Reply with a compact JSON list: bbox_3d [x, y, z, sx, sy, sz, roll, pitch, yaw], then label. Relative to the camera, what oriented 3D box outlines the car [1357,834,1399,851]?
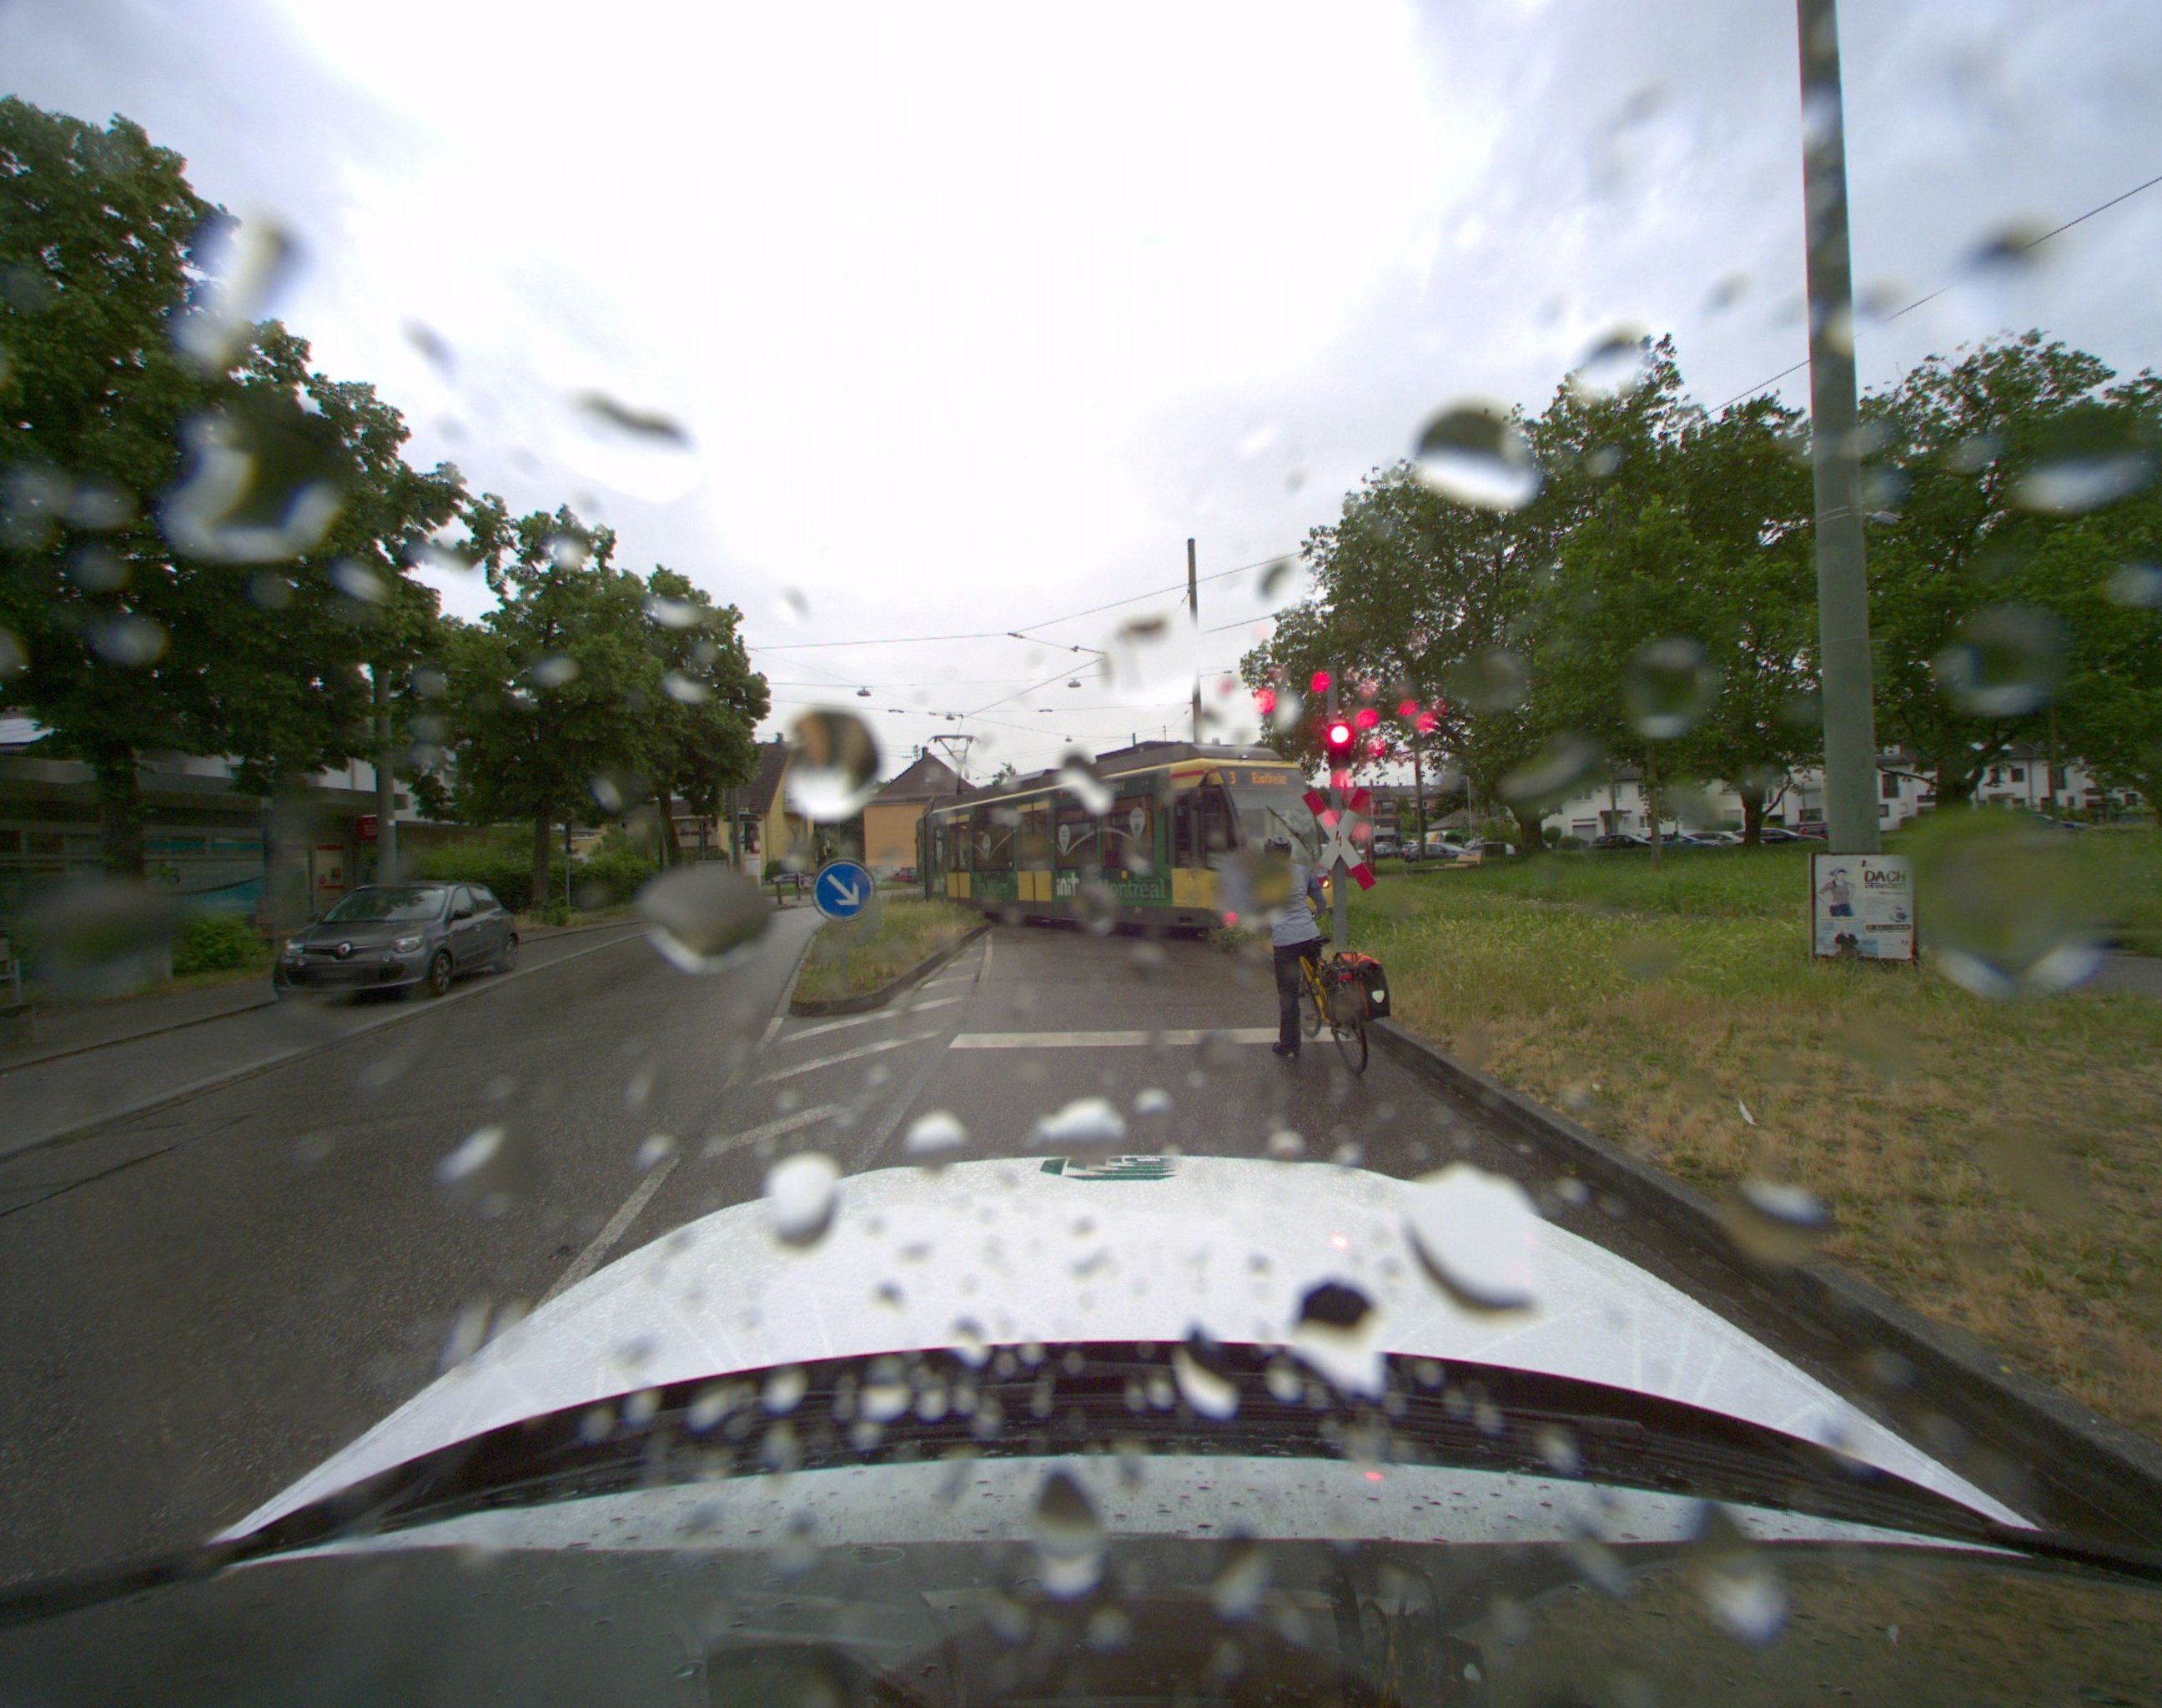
[{"bbox_3d":[33.120,-1.232,90.837,3.968,1.791,2.002,0,-1,4],"label":"car"}]

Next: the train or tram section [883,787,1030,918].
[{"bbox_3d":[-3.950,-0.047,24.960,2.778,3.553,4.940,-2,0,-30],"label":"train or tram section"}]

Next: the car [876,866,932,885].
[{"bbox_3d":[-13.665,1.661,63.065,3.979,1.456,1.831,0,-1,-5],"label":"car"}]

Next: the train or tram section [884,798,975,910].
[{"bbox_3d":[-5.914,0.090,33.063,2.760,3.553,13.092,-2,-1,-9],"label":"train or tram section"}]

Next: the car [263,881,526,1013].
[{"bbox_3d":[-9.687,1.197,11.872,1.621,1.496,3.645,0,-1,-18],"label":"car"}]

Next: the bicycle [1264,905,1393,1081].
[{"bbox_3d":[1.795,0.956,6.132,0.444,1.004,1.728,-2,0,1],"label":"bicycle"}]

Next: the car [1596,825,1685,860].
[{"bbox_3d":[30.538,-0.612,44.529,1.821,1.798,3.721,0,-1,-44],"label":"car"}]

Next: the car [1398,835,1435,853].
[{"bbox_3d":[39.115,-1.094,95.036,1.998,2.014,3.978,0,-1,-16],"label":"car"}]

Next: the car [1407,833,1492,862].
[{"bbox_3d":[20.256,-0.322,44.897,1.821,1.495,3.867,0,-1,-44],"label":"car"}]

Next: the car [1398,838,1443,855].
[{"bbox_3d":[35.419,-0.776,84.943,3.971,1.640,1.847,0,-1,2],"label":"car"}]

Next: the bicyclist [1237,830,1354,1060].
[{"bbox_3d":[1.610,0.651,6.228,0.665,1.626,0.853,0,-1,0],"label":"bicyclist"}]

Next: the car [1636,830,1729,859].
[{"bbox_3d":[33.200,-0.496,44.987,1.821,1.495,3.867,0,-1,-44],"label":"car"}]

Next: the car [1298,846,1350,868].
[{"bbox_3d":[19.310,0.256,64.805,3.670,1.701,1.891,0,-1,2],"label":"car"}]

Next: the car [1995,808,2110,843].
[{"bbox_3d":[54.631,-1.578,45.858,1.815,1.765,3.878,0,-1,-29],"label":"car"}]

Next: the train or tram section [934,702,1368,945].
[{"bbox_3d":[0.331,-0.296,17.803,2.779,3.553,12.082,-2,-1,-31],"label":"train or tram section"}]

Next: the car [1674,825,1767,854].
[{"bbox_3d":[35.703,-0.755,45.518,1.821,1.495,3.867,0,-1,-44],"label":"car"}]

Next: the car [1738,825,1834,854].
[{"bbox_3d":[39.262,-0.781,45.406,1.821,1.495,3.867,0,-1,-44],"label":"car"}]

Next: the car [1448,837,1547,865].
[{"bbox_3d":[20.502,-0.131,40.244,3.964,1.285,1.851,-1,-1,8],"label":"car"}]

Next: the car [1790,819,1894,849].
[{"bbox_3d":[42.625,-1.089,45.680,1.814,1.495,3.881,0,-1,-27],"label":"car"}]

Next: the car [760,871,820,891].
[{"bbox_3d":[-22.111,2.040,62.019,3.979,1.456,1.831,0,-1,-5],"label":"car"}]

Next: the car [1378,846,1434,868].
[{"bbox_3d":[25.891,0.210,64.950,3.670,1.701,1.891,0,-1,2],"label":"car"}]

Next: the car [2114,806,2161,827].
[{"bbox_3d":[89.722,-3.161,68.332,3.670,1.660,1.891,0,-1,2],"label":"car"}]

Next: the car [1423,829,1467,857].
[{"bbox_3d":[32.570,-0.969,72.991,1.987,2.443,4.354,0,-1,1],"label":"car"}]
